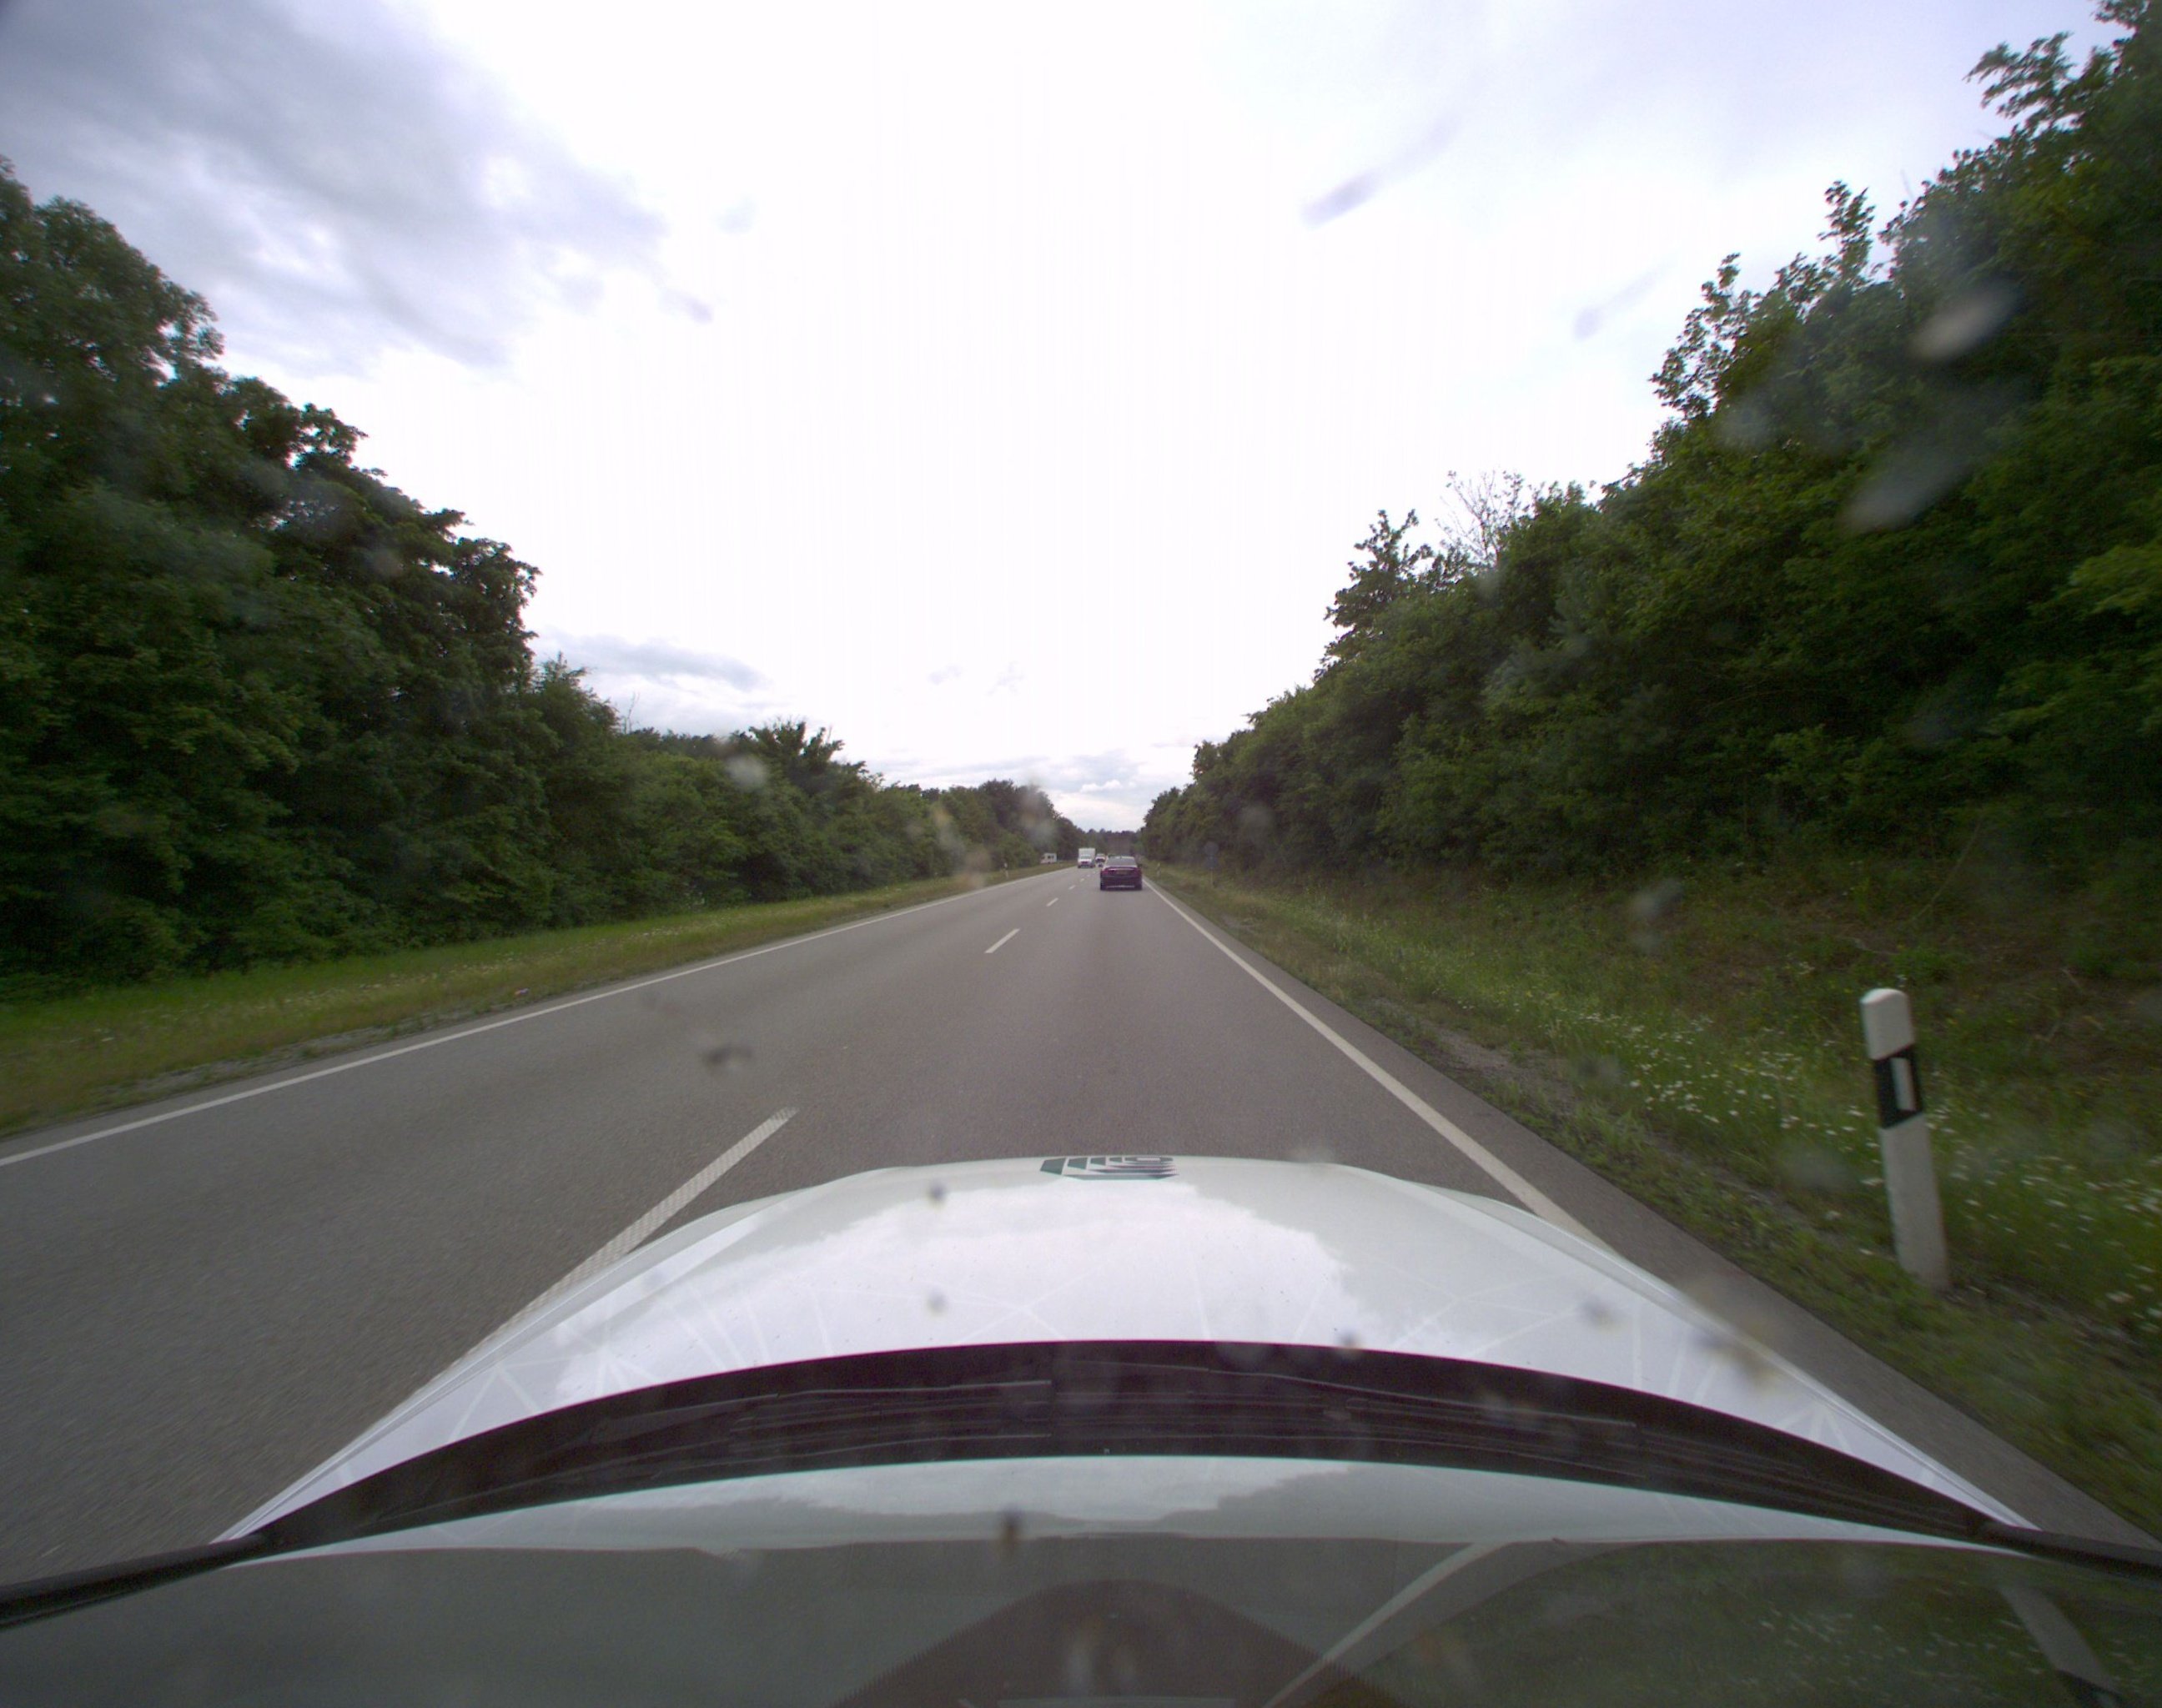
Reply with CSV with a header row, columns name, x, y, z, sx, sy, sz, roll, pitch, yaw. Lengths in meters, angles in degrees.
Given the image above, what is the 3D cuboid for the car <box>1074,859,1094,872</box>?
name,x,y,z,sx,sy,sz,roll,pitch,yaw
car,0.397,1.472,103.043,2.270,1.603,4.694,0,0,2

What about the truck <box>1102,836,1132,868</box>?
name,x,y,z,sx,sy,sz,roll,pitch,yaw
truck,4.408,-0.157,97.626,3.266,3.611,11.412,0,0,4

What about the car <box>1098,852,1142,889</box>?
name,x,y,z,sx,sy,sz,roll,pitch,yaw
car,1.701,0.703,36.601,1.785,1.552,3.999,0,0,0

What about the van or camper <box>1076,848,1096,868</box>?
name,x,y,z,sx,sy,sz,roll,pitch,yaw
van or camper,0.688,0.525,108.672,2.370,2.575,6.283,0,0,2

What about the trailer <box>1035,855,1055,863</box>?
name,x,y,z,sx,sy,sz,roll,pitch,yaw
trailer,-8.470,1.167,193.602,1.974,2.014,5.155,-1,0,35
